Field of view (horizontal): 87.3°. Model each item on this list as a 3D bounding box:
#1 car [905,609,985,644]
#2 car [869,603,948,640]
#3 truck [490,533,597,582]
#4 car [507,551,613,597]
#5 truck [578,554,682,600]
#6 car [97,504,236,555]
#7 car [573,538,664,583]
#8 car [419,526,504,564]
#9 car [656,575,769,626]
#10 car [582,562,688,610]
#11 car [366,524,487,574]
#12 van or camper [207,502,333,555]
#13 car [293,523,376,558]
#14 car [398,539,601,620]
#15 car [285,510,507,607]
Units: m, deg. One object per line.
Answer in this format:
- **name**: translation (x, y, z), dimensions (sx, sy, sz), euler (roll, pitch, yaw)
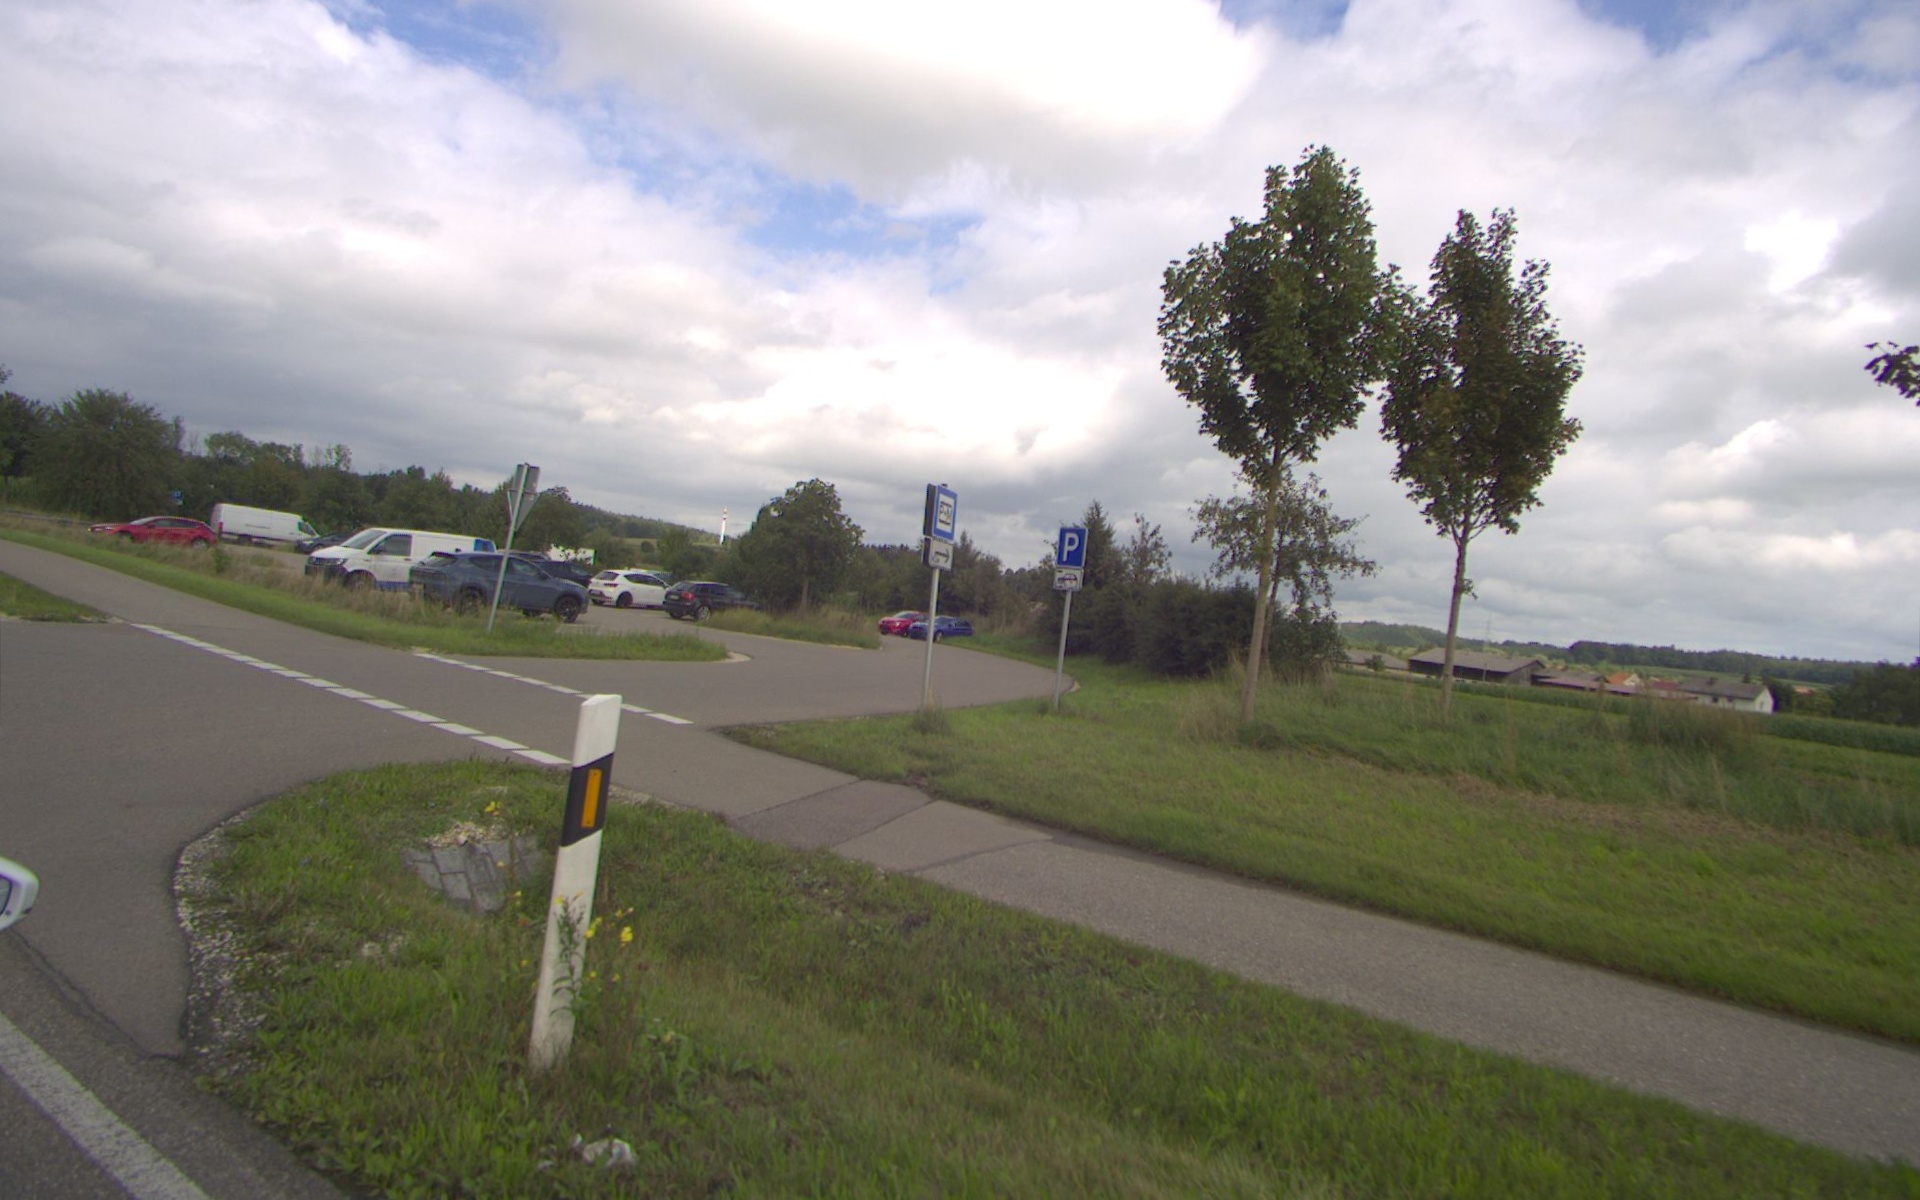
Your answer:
- **car**: translation (-0.729, 1.365, 51.416), dimensions (1.908, 1.281, 3.984), euler (7, -1, 40)
- **car**: translation (-2.708, 1.164, 53.415), dimensions (1.892, 1.455, 3.984), euler (7, -1, 40)
- **truck**: translation (-31.574, -3.203, 76.478), dimensions (2.789, 2.748, 6.879), euler (7, -1, 37)
- **car**: translation (-16.792, -1.091, 42.387), dimensions (1.734, 1.408, 3.685), euler (7, -1, 39)
- **truck**: translation (-21.840, -1.537, 66.447), dimensions (6.282, 2.245, 3.132), euler (7, -1, 33)
- **car**: translation (-34.648, -3.048, 44.019), dimensions (1.940, 1.595, 4.329), euler (7, 1, 35)
- **car**: translation (-16.452, -1.909, 48.512), dimensions (3.669, 1.627, 1.741), euler (8, -1, -38)
- **car**: translation (-29.352, -3.237, 59.353), dimensions (1.966, 1.615, 3.995), euler (7, -1, 29)
- **car**: translation (-8.970, 0.036, 36.665), dimensions (1.703, 1.408, 3.689), euler (7, -1, 35)
- **car**: translation (-12.765, -0.533, 39.697), dimensions (1.730, 1.408, 3.693), euler (7, -1, 31)
- **car**: translation (-27.882, -2.637, 52.729), dimensions (2.196, 2.026, 5.026), euler (7, 1, 35)
- **van or camper**: translation (-47.477, -4.899, 69.397), dimensions (2.019, 2.592, 6.739), euler (7, -1, 39)
- **car**: translation (-36.134, -3.429, 58.136), dimensions (1.681, 1.457, 3.625), euler (7, -1, 38)
- **car**: translation (-11.575, -0.467, 25.532), dimensions (1.809, 1.586, 4.271), euler (7, 1, 35)
- **car**: translation (-15.613, -1.079, 28.126), dimensions (1.924, 1.998, 4.948), euler (7, -1, 35)
